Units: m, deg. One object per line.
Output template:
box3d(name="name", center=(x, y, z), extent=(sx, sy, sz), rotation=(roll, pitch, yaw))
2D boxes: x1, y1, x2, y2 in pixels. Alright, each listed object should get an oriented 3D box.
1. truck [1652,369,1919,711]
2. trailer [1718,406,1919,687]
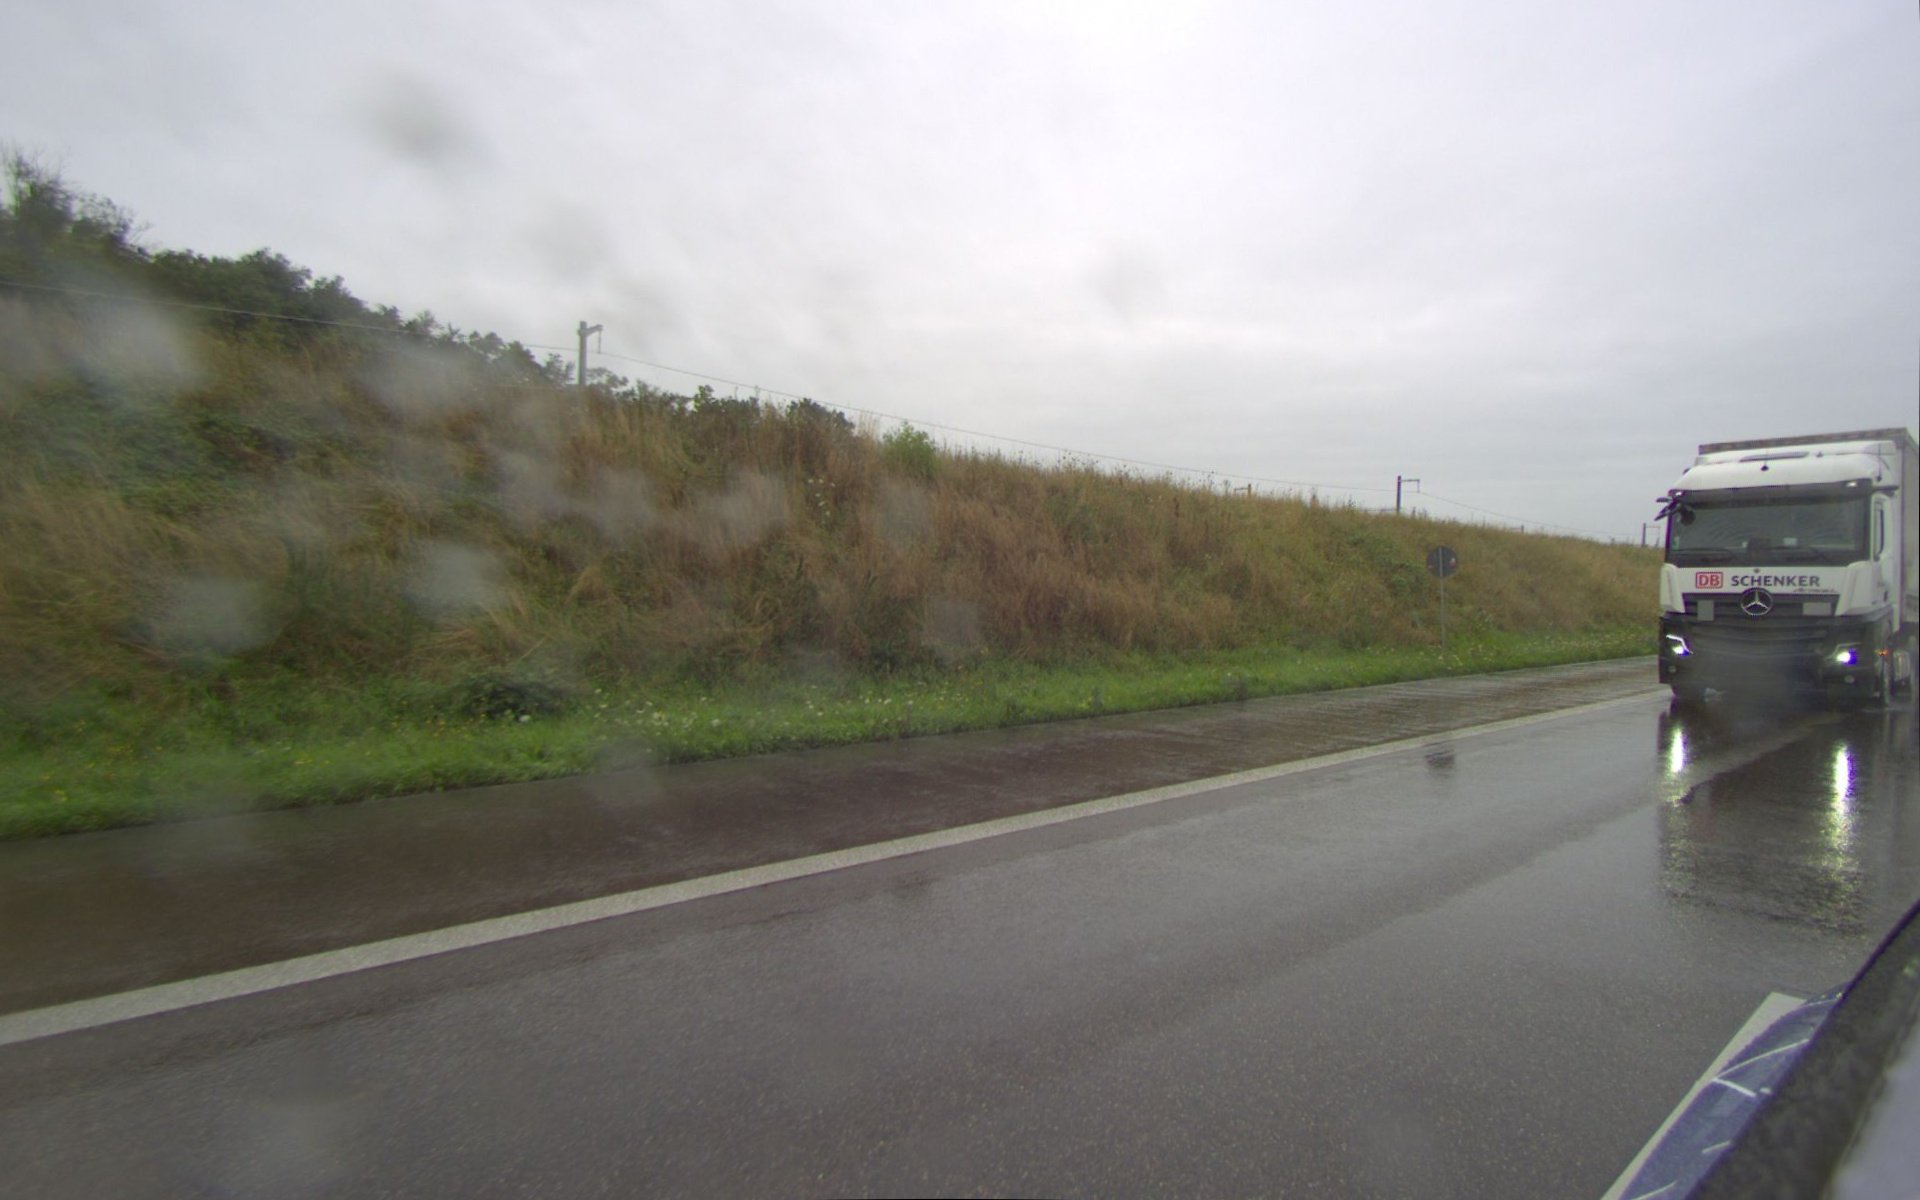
box3d(name="truck", center=(12.799, -0.791, 15.419), extent=(4.957, 4.307, 2.630), rotation=(-1, 0, -42))
box3d(name="trailer", center=(19.116, -0.894, 21.003), extent=(13.931, 4.302, 2.631), rotation=(-1, 0, -41))
